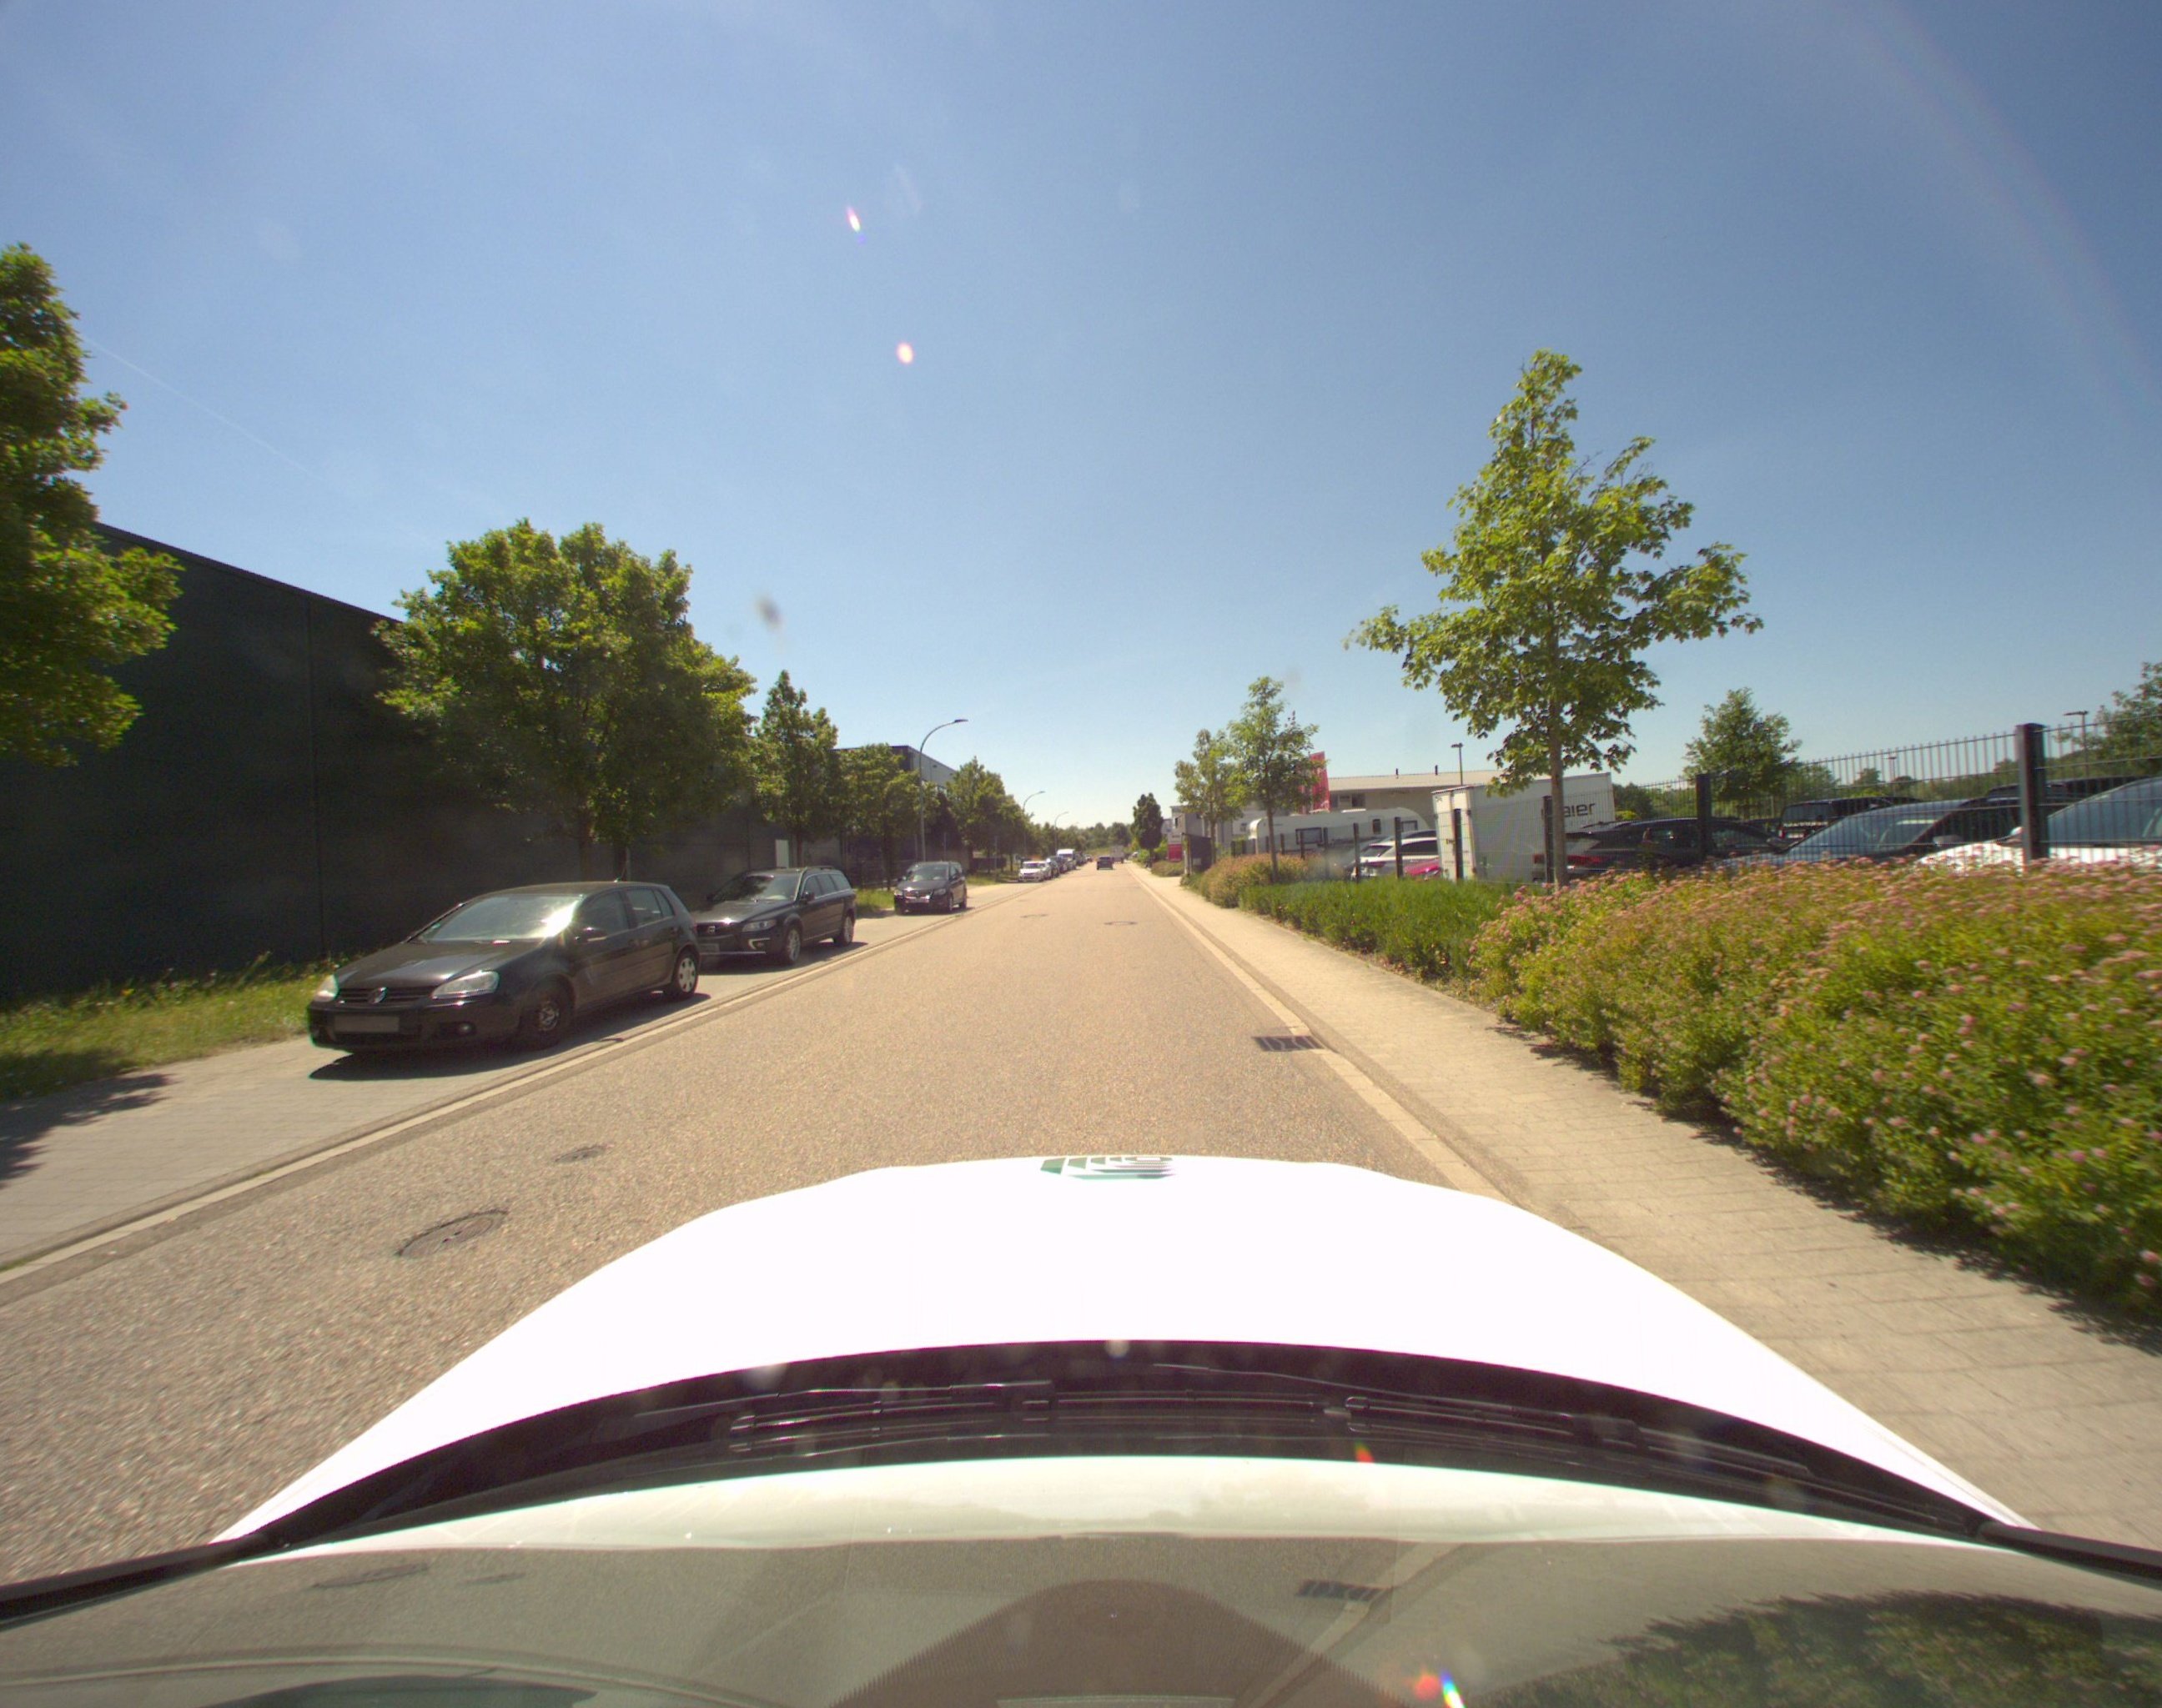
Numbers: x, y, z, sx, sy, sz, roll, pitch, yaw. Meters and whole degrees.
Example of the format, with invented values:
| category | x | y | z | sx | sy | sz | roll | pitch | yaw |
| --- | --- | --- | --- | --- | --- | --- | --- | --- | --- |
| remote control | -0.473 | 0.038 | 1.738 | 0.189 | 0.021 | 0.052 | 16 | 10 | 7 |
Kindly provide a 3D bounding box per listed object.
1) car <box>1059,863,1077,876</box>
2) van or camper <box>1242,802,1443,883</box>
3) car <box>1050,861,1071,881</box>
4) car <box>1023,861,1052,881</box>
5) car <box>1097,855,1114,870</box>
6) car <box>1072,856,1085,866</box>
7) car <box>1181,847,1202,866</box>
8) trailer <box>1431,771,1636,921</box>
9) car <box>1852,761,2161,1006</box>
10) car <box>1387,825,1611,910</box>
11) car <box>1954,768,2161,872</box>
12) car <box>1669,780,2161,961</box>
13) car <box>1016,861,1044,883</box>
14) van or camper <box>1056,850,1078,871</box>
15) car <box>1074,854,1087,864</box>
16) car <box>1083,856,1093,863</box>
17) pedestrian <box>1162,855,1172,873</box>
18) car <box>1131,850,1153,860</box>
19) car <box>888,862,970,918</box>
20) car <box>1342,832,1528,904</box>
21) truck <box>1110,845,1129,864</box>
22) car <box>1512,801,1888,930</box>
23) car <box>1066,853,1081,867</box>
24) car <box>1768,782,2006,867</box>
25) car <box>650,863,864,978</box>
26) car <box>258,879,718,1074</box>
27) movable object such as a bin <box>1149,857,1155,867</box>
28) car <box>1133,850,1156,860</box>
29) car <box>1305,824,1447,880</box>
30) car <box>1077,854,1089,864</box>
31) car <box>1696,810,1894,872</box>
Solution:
| category | x | y | z | sx | sy | sz | roll | pitch | yaw |
| --- | --- | --- | --- | --- | --- | --- | --- | --- | --- |
| car | -1.467 | 1.742 | 92.958 | 1.792 | 1.449 | 4.254 | -2 | 0 | 2 |
| van or camper | 9.813 | -0.418 | 31.114 | 6.733 | 2.585 | 2.636 | -3 | 0 | 1 |
| car | -2.053 | 1.701 | 82.533 | 1.792 | 1.814 | 4.254 | -2 | 0 | 2 |
| car | -3.370 | 1.294 | 63.897 | 1.792 | 1.476 | 4.558 | -2 | 0 | 3 |
| car | 2.789 | 0.975 | 92.052 | 1.782 | 1.623 | 3.811 | -1 | 0 | 2 |
| car | -0.386 | 1.127 | 127.464 | 1.791 | 1.487 | 4.257 | -2 | 0 | 4 |
| car | 11.544 | 0.272 | 85.064 | 1.777 | 1.783 | 4.911 | -4 | -1 | 4 |
| trailer | 8.157 | -0.138 | 14.824 | 2.815 | 2.403 | 1.418 | -4 | 0 | -2 |
| car | 8.559 | 0.079 | 5.982 | 3.973 | 1.522 | 1.823 | -3 | 0 | 1 |
| car | 8.974 | 0.280 | 17.722 | 3.877 | 1.475 | 1.807 | -4 | 0 | 1 |
| car | 19.905 | -0.685 | 15.676 | 4.027 | 1.763 | 1.919 | -4 | 0 | 1 |
| car | 8.840 | 0.140 | 8.537 | 4.027 | 1.491 | 1.744 | -4 | 0 | 1 |
| car | -3.644 | 1.273 | 58.638 | 1.715 | 1.476 | 3.857 | -2 | 0 | 0 |
| van or camper | -1.689 | 0.816 | 99.918 | 2.069 | 2.483 | 6.138 | -1 | 0 | 5 |
| car | -0.042 | 0.758 | 132.539 | 1.791 | 1.487 | 4.257 | -2 | 0 | 4 |
| car | 1.601 | 1.246 | 177.063 | 1.791 | 1.487 | 4.257 | -2 | 0 | 4 |
| pedestrian | 7.957 | 0.897 | 75.083 | 0.501 | 1.613 | 0.710 | -6 | -1 | -16 |
| car | 11.171 | 0.246 | 148.578 | 3.863 | 1.750 | 1.751 | -1 | 0 | -1 |
| car | -4.878 | 1.113 | 26.695 | 1.764 | 1.611 | 4.248 | -2 | 0 | 1 |
| car | 8.806 | 0.340 | 20.484 | 3.830 | 1.440 | 1.805 | -4 | 0 | -2 |
| truck | 6.225 | 0.037 | 130.890 | 2.921 | 2.974 | 6.423 | -1 | 0 | 3 |
| car | 8.944 | 0.168 | 12.068 | 4.027 | 1.503 | 1.919 | -4 | 0 | 1 |
| car | -1.062 | 0.851 | 119.955 | 1.791 | 1.848 | 4.257 | -2 | 0 | 4 |
| car | 20.322 | -0.703 | 20.670 | 4.027 | 1.806 | 1.919 | -4 | 0 | 1 |
| car | -5.488 | 1.023 | 14.598 | 1.764 | 1.611 | 4.853 | -2 | 0 | 1 |
| car | -5.672 | 1.041 | 8.614 | 1.765 | 1.431 | 4.201 | 0 | 0 | 0 |
| movable object such as a bin | 7.618 | 0.875 | 87.506 | 0.529 | 1.052 | 0.846 | -3 | -1 | 4 |
| car | 11.394 | 0.232 | 146.083 | 3.863 | 1.750 | 1.751 | -1 | 0 | -1 |
| car | 10.007 | -0.049 | 27.804 | 4.123 | 1.536 | 1.809 | -4 | 0 | 1 |
| car | 0.327 | 0.822 | 136.850 | 1.791 | 1.487 | 4.257 | -2 | 0 | 4 |
| car | 20.270 | -0.348 | 23.237 | 4.027 | 1.431 | 1.748 | -4 | 0 | 1 |
